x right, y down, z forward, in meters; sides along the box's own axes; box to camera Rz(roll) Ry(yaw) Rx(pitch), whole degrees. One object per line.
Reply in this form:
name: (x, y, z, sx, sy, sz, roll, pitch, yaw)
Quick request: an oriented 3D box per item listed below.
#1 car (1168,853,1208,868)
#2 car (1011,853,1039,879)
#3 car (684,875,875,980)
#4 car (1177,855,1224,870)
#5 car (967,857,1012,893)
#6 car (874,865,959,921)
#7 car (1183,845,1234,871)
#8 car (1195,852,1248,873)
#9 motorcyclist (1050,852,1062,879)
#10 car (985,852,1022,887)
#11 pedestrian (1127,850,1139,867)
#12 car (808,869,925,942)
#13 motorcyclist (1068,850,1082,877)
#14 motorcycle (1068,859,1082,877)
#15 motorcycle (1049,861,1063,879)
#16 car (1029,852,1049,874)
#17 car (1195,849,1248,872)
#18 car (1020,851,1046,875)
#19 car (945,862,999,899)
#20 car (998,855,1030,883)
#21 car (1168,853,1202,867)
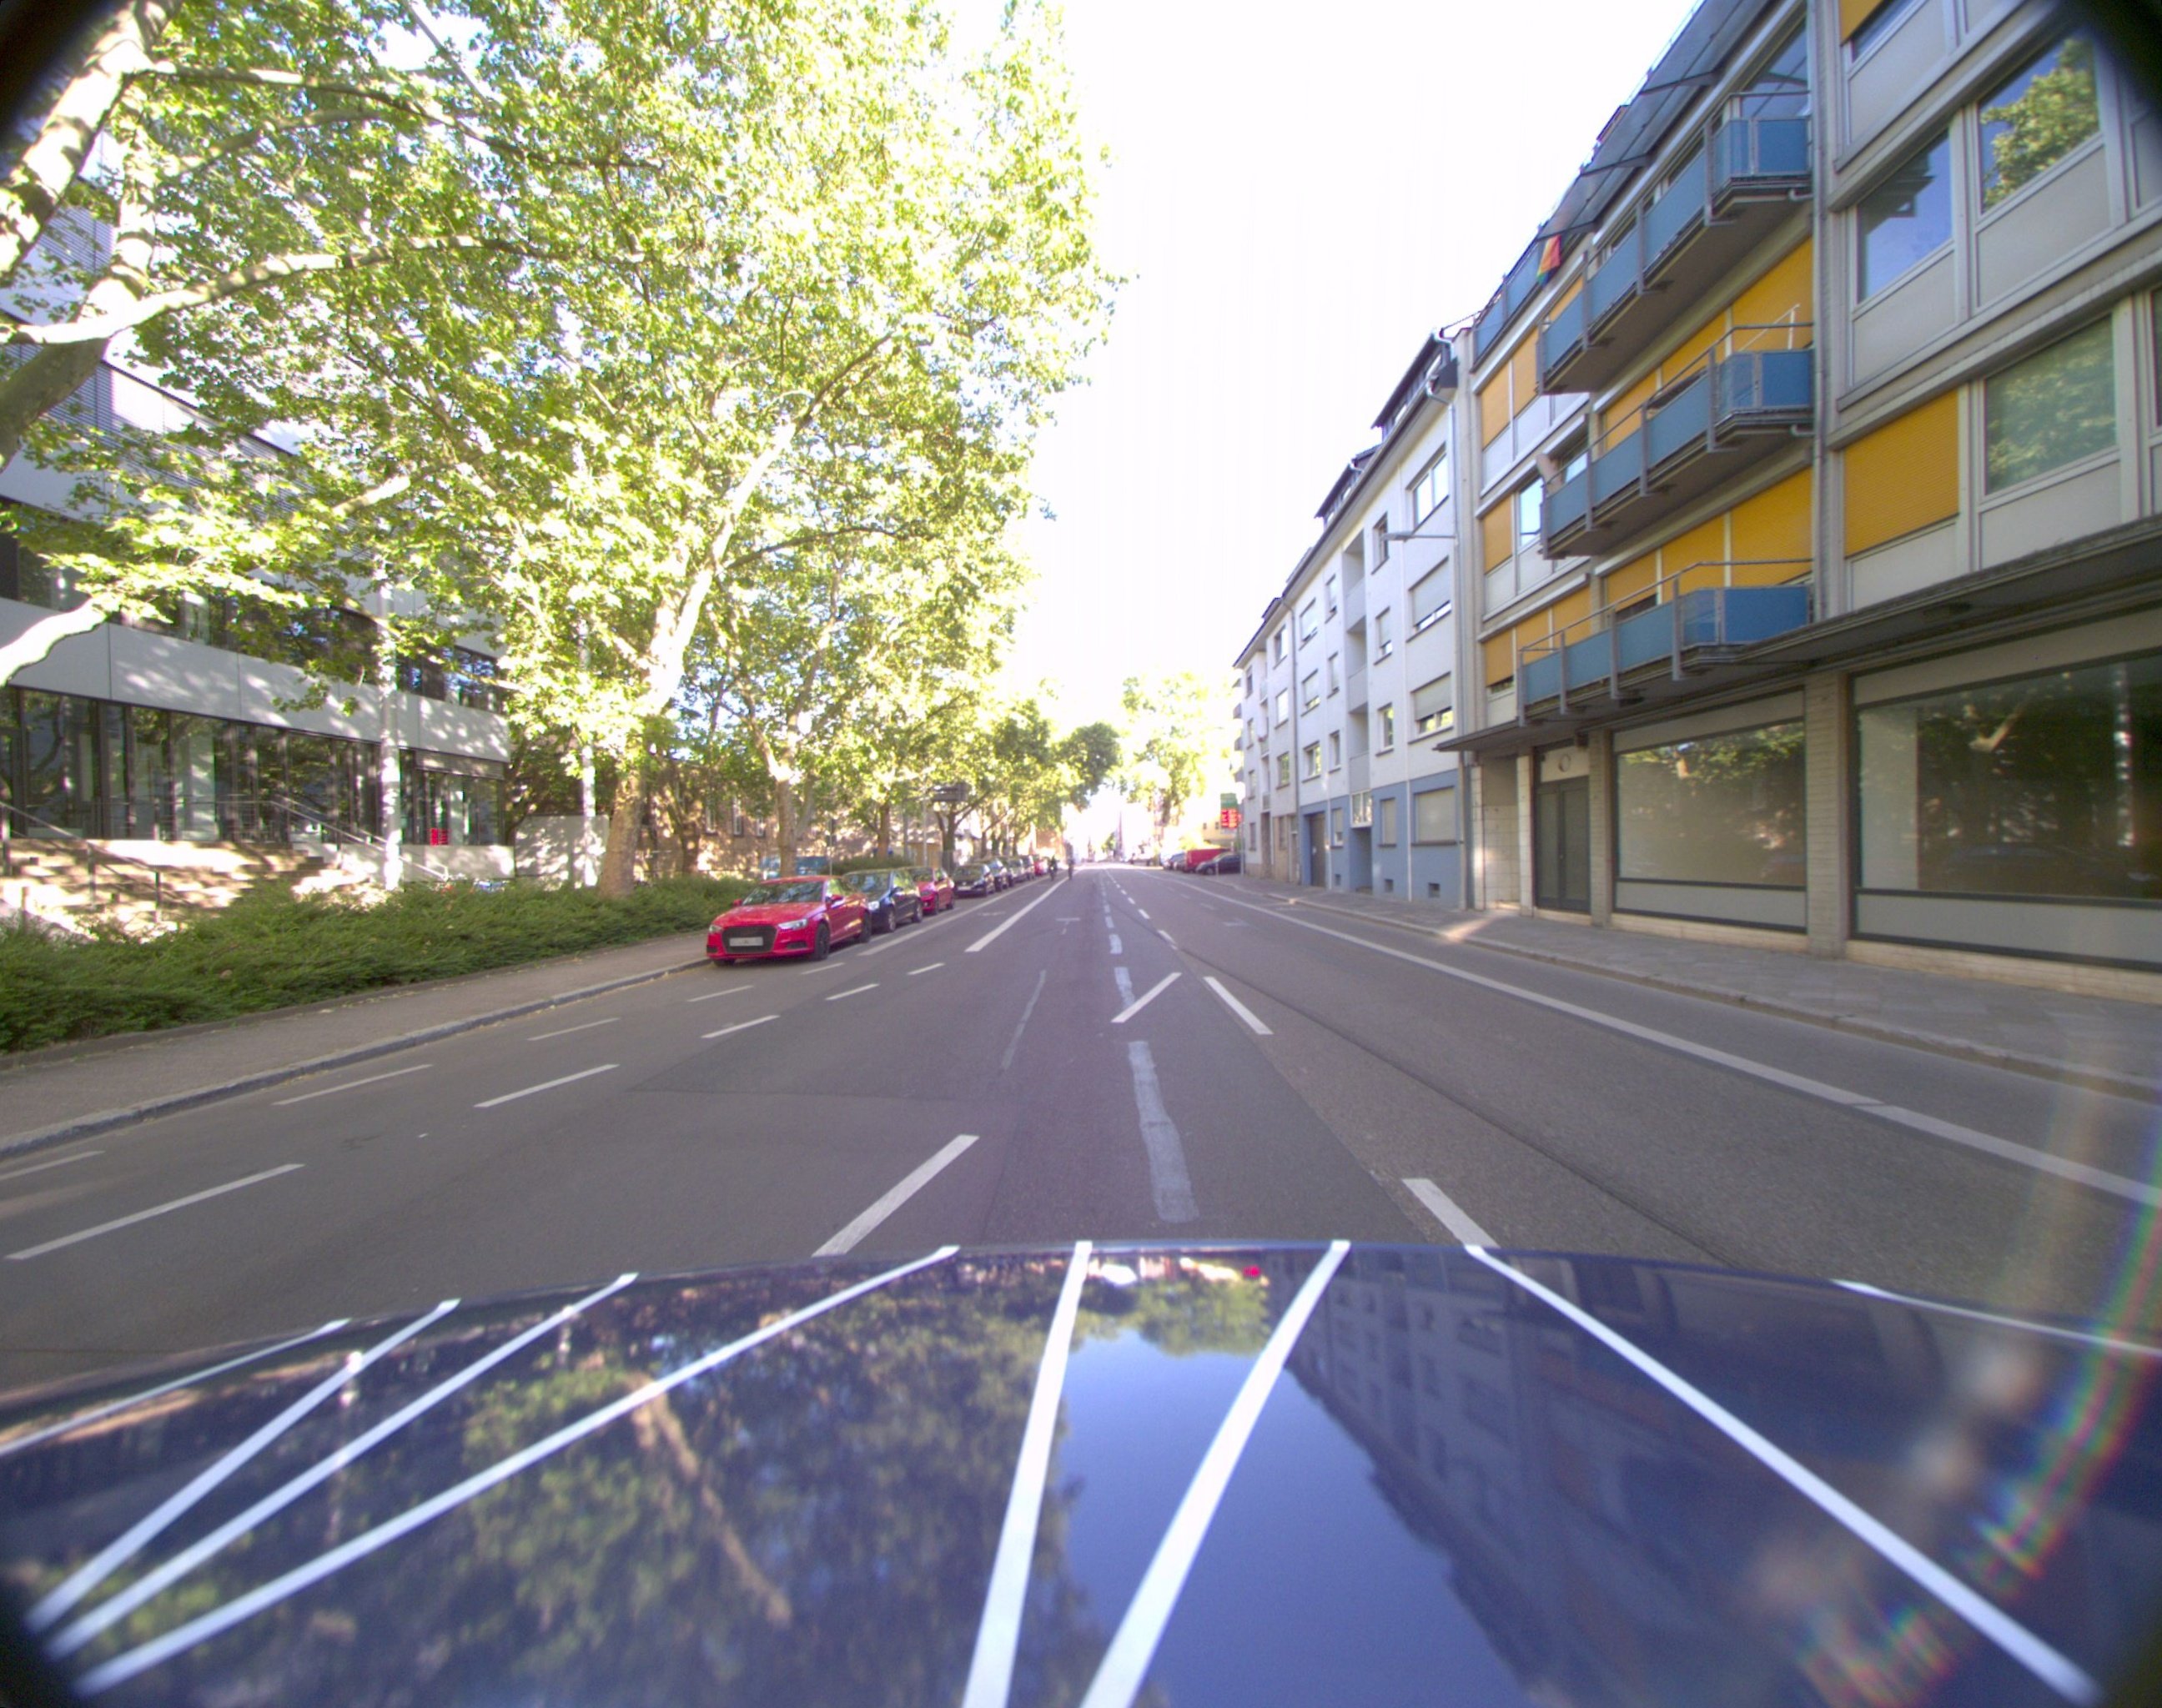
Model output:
car: (10.264, 0.629, 73.021, 3.687, 1.238, 1.345, -2, 1, 2)
car: (-4.040, 0.816, 55.231, 1.634, 1.725, 3.769, -2, 1, 0)
car: (-5.163, 1.180, 13.649, 1.794, 1.384, 3.999, -2, 1, 0)
car: (9.809, 0.695, 62.580, 3.687, 1.122, 1.345, -2, 1, 2)
car: (-4.521, 0.993, 38.099, 1.634, 1.569, 4.231, -2, 1, 0)
car: (-5.015, 1.134, 23.676, 1.692, 1.441, 3.923, -2, 1, 1)
car: (10.058, 0.323, 59.935, 3.688, 1.897, 1.490, -2, -1, -1)
car: (10.088, 0.592, 54.721, 3.508, 1.380, 1.490, -2, 1, 2)
motorcyclist: (-1.684, 0.767, 50.712, 0.719, 1.733, 0.751, -2, 1, 1)
car: (-4.458, 0.854, 44.232, 1.634, 1.781, 4.576, -2, 1, 0)
pedestrian: (5.742, 0.495, 83.580, 0.894, 1.727, 0.827, -3, 1, -41)
car: (-5.052, 1.163, 18.402, 1.669, 1.410, 3.697, -2, 1, 1)
motorcyclist: (-0.403, 0.633, 51.558, 0.833, 1.778, 0.913, -2, 1, 1)
motorcycle: (-0.403, 0.945, 51.505, 0.865, 1.161, 1.929, -2, 1, 1)
motorcycle: (-1.676, 1.045, 50.659, 0.799, 1.125, 2.236, -2, 1, 1)
car: (-3.906, 0.807, 70.995, 1.599, 1.835, 3.769, -2, 1, 0)
car: (10.532, 0.487, 57.090, 3.687, 1.503, 1.490, -2, 1, 2)
car: (-4.173, 0.723, 66.083, 1.915, 1.940, 3.769, -2, 1, 0)
car: (-4.696, 1.112, 33.228, 1.692, 1.414, 3.923, -2, 1, 0)
car: (-4.356, 0.940, 50.104, 1.634, 1.604, 4.576, -2, 1, 0)
car: (10.320, 0.584, 75.459, 3.271, 1.238, 1.345, -2, 1, 2)
